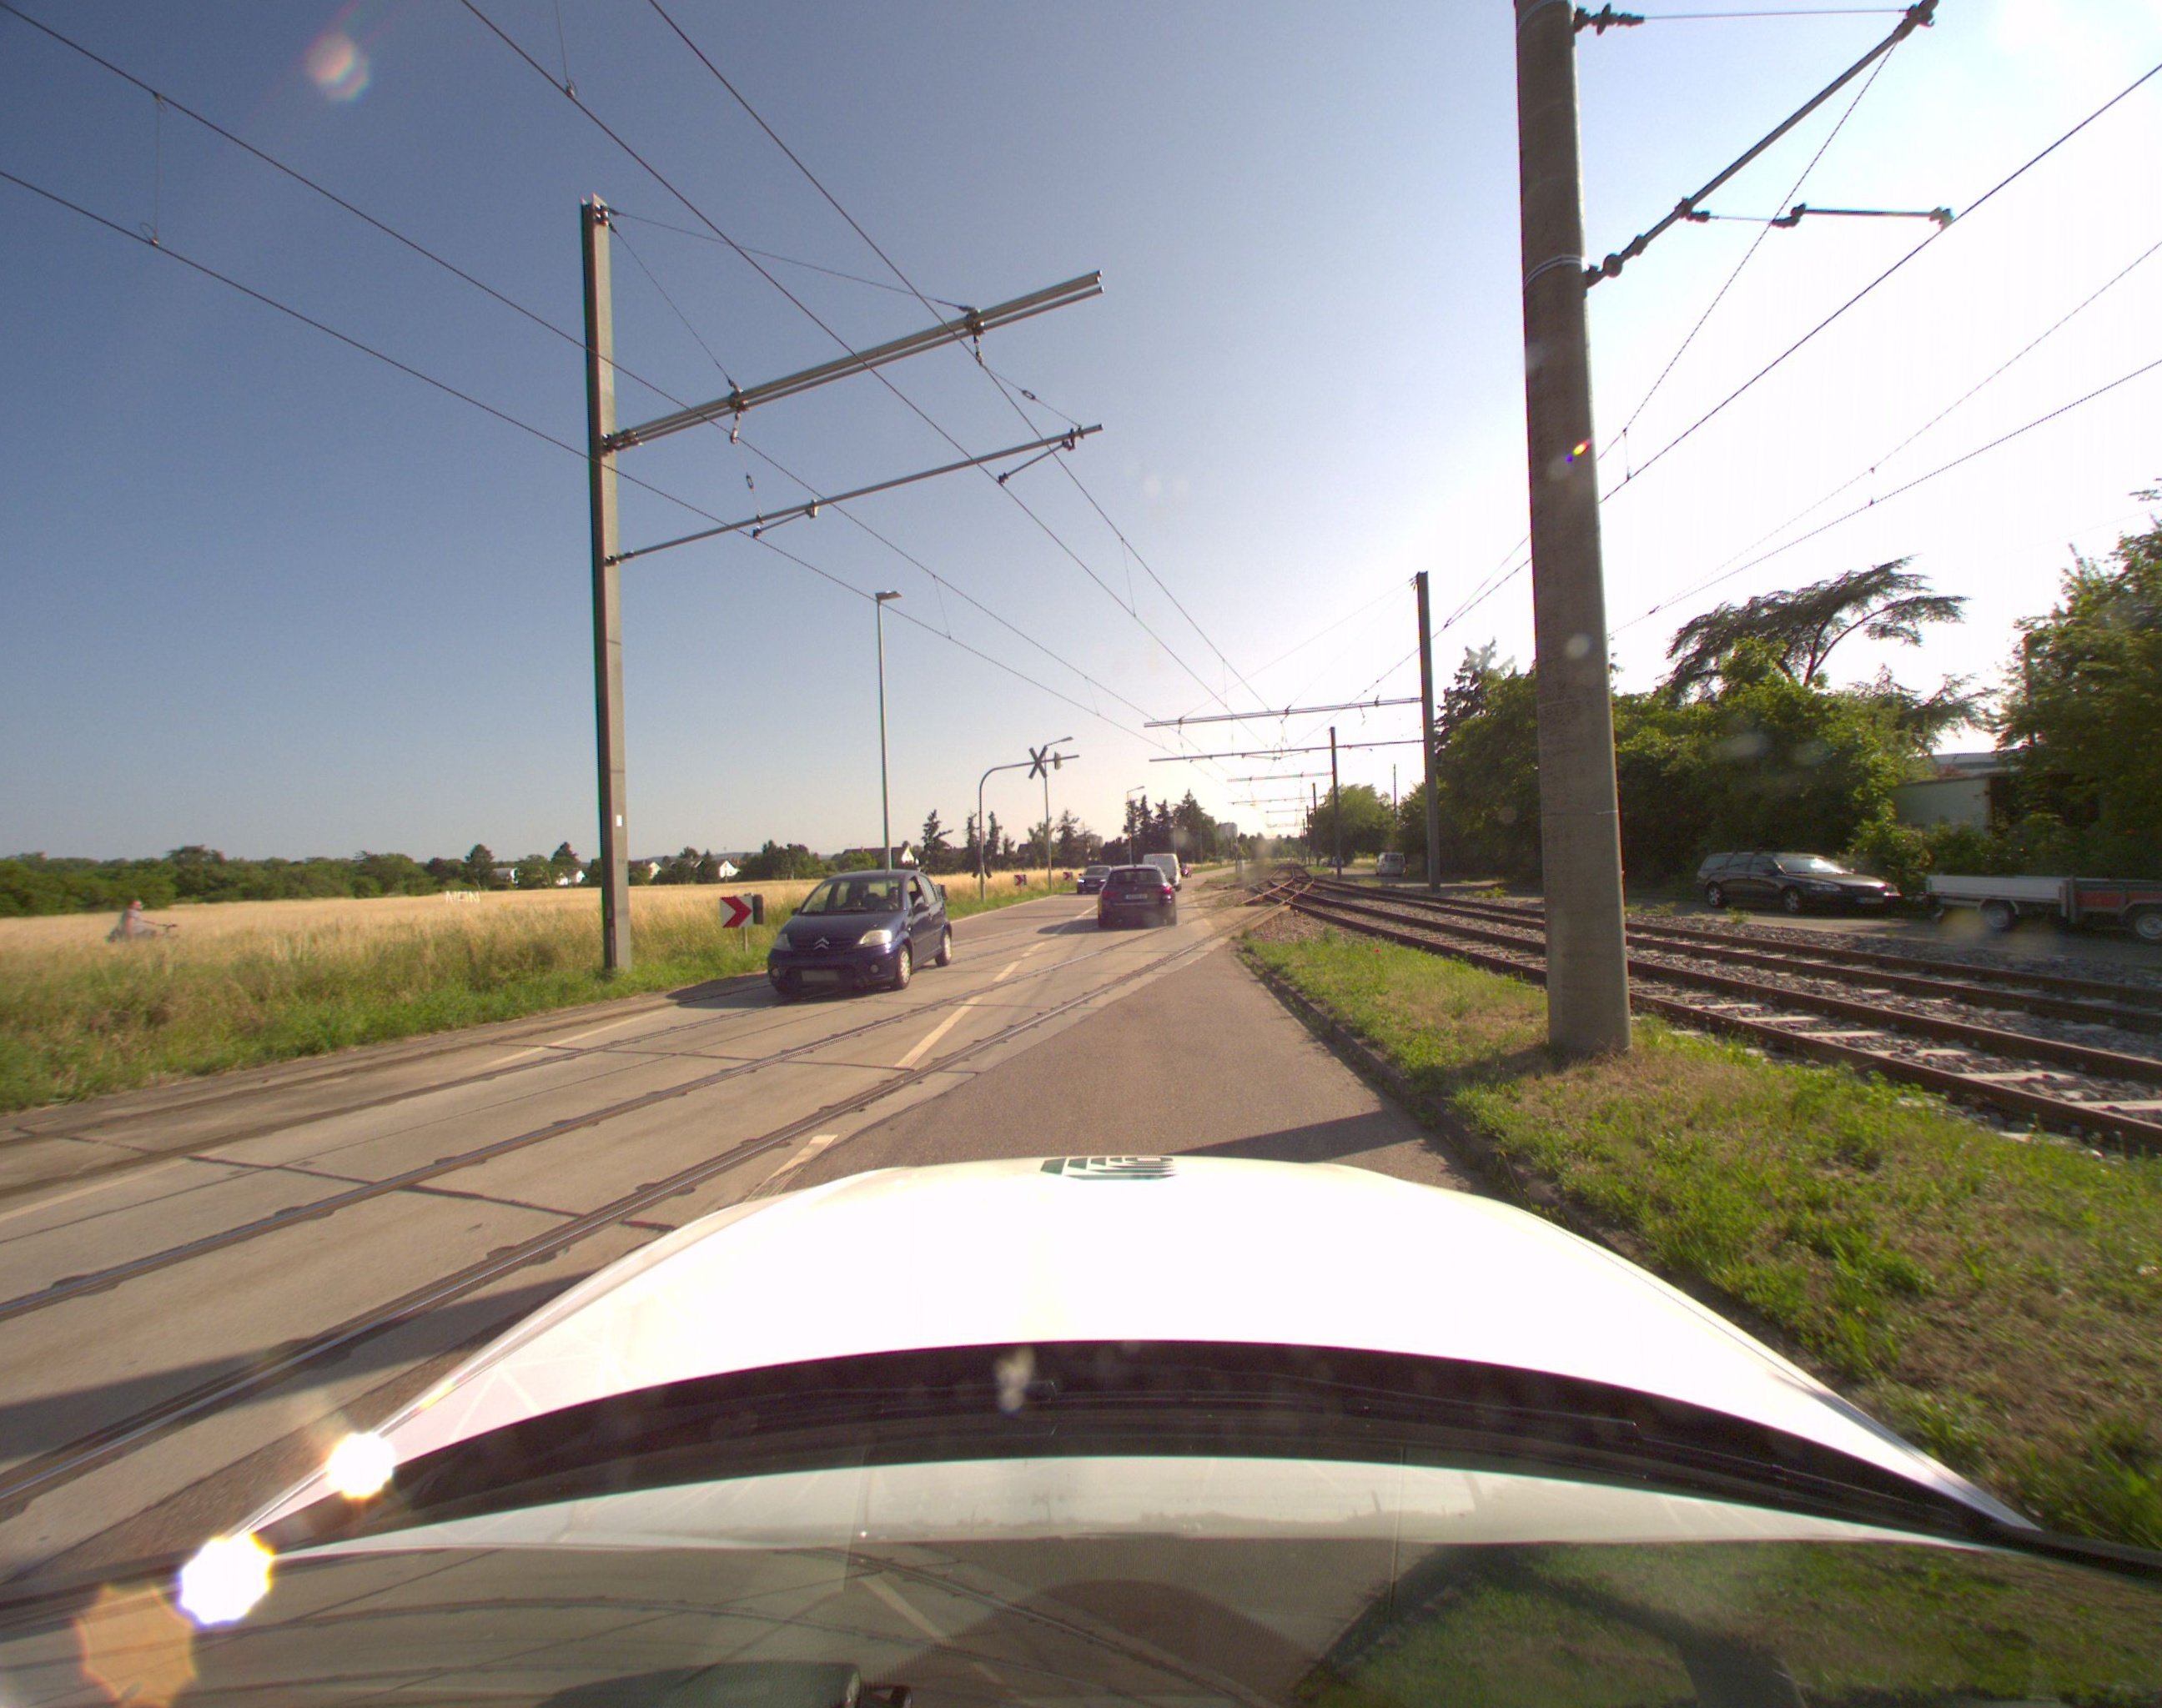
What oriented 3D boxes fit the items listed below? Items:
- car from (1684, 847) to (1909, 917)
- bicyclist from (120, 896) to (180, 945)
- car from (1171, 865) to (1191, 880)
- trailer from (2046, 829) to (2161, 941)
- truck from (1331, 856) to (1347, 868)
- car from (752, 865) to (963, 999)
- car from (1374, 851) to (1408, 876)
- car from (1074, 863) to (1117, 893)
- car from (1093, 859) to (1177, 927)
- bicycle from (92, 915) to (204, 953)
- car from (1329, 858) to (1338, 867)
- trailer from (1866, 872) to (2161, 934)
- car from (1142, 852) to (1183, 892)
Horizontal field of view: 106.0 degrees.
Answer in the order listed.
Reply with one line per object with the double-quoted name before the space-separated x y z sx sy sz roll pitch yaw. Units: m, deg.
"car" 16.993 0.602 19.735 1.689 1.456 4.891 1 0 8
"bicyclist" -23.949 1.701 20.952 0.739 1.205 0.793 -2 -1 20
"car" 10.971 2.010 89.076 1.701 1.549 3.942 -2 -1 13
"trailer" 16.258 0.442 10.817 2.017 1.596 4.265 0 -1 5
"truck" 44.672 1.383 141.261 2.188 1.819 5.951 -2 -1 14
"car" -2.906 0.942 11.496 1.617 1.494 4.003 -3 -1 3
"car" 25.780 0.781 67.850 1.979 2.004 5.085 1 0 14
"car" 0.825 1.232 43.036 1.683 1.439 4.294 -1 0 9
"car" 1.414 0.902 20.706 1.860 1.452 4.750 -1 0 5
"bicycle" -23.945 2.033 20.948 0.743 0.839 1.745 -2 -1 21
"car" 52.169 1.785 168.479 1.721 1.680 3.559 -1 -2 17
"trailer" 16.843 0.814 14.828 1.723 0.939 3.733 0 -1 5
"car" 4.511 0.940 44.317 1.846 1.988 5.122 -1 -1 10
